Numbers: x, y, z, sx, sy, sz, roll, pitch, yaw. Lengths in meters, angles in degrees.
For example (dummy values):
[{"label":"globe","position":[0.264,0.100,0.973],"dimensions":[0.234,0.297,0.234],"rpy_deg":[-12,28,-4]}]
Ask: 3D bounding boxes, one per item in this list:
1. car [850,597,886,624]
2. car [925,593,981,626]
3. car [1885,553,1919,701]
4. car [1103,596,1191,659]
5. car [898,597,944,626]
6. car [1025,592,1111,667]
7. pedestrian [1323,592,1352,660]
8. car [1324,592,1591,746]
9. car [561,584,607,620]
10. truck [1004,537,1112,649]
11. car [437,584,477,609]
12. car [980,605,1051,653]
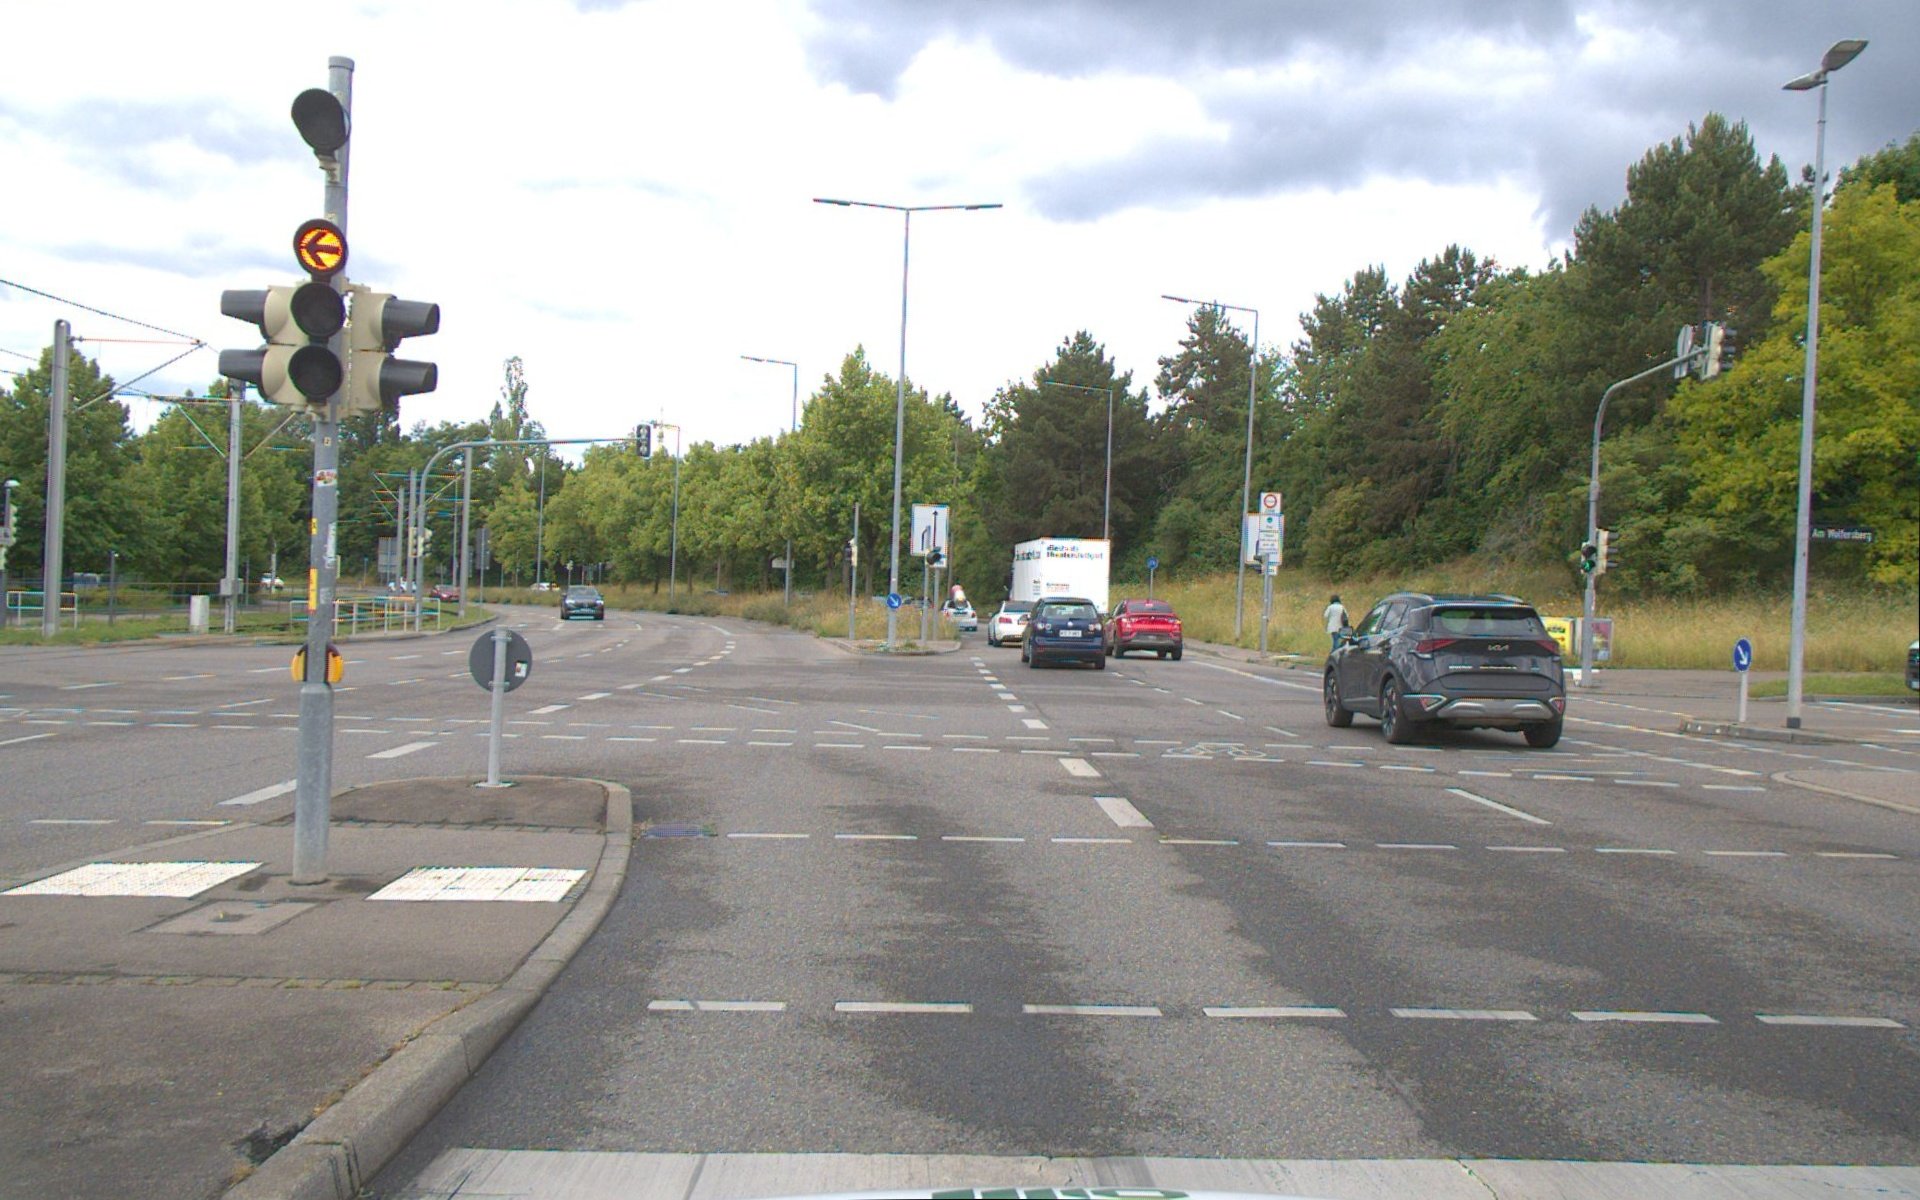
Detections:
[{"label":"car","position":[-5.538,0.607,99.477],"dimensions":[1.556,1.519,3.431],"rpy_deg":[1,0,-14]},{"label":"car","position":[-0.354,0.445,78.815],"dimensions":[1.791,1.532,3.479],"rpy_deg":[1,0,-16]},{"label":"car","position":[20.240,0.540,30.066],"dimensions":[5.685,2.676,2.000],"rpy_deg":[1,-1,1]},{"label":"car","position":[5.036,0.710,44.980],"dimensions":[1.809,1.556,4.376],"rpy_deg":[1,0,-1]},{"label":"car","position":[-2.166,0.628,90.806],"dimensions":[1.598,1.519,3.820],"rpy_deg":[1,0,-16]},{"label":"car","position":[2.449,0.656,38.383],"dimensions":[1.631,1.626,3.995],"rpy_deg":[1,0,-1]},{"label":"pedestrian","position":[9.611,0.654,42.141],"dimensions":[0.630,1.691,0.714],"rpy_deg":[1,-1,6]},{"label":"car","position":[5.578,0.725,19.118],"dimensions":[1.757,1.557,4.217],"rpy_deg":[1,0,-1]},{"label":"car","position":[-17.839,0.097,78.378],"dimensions":[1.767,1.615,3.980],"rpy_deg":[1,0,-18]},{"label":"truck","position":[3.653,-0.291,64.414],"dimensions":[2.748,3.971,10.172],"rpy_deg":[1,1,-5]},{"label":"car","position":[-38.976,-0.275,128.100],"dimensions":[1.855,1.823,3.953],"rpy_deg":[1,0,-34]},{"label":"car","position":[1.729,0.892,52.702],"dimensions":[1.764,1.436,4.313],"rpy_deg":[1,0,-4]}]
